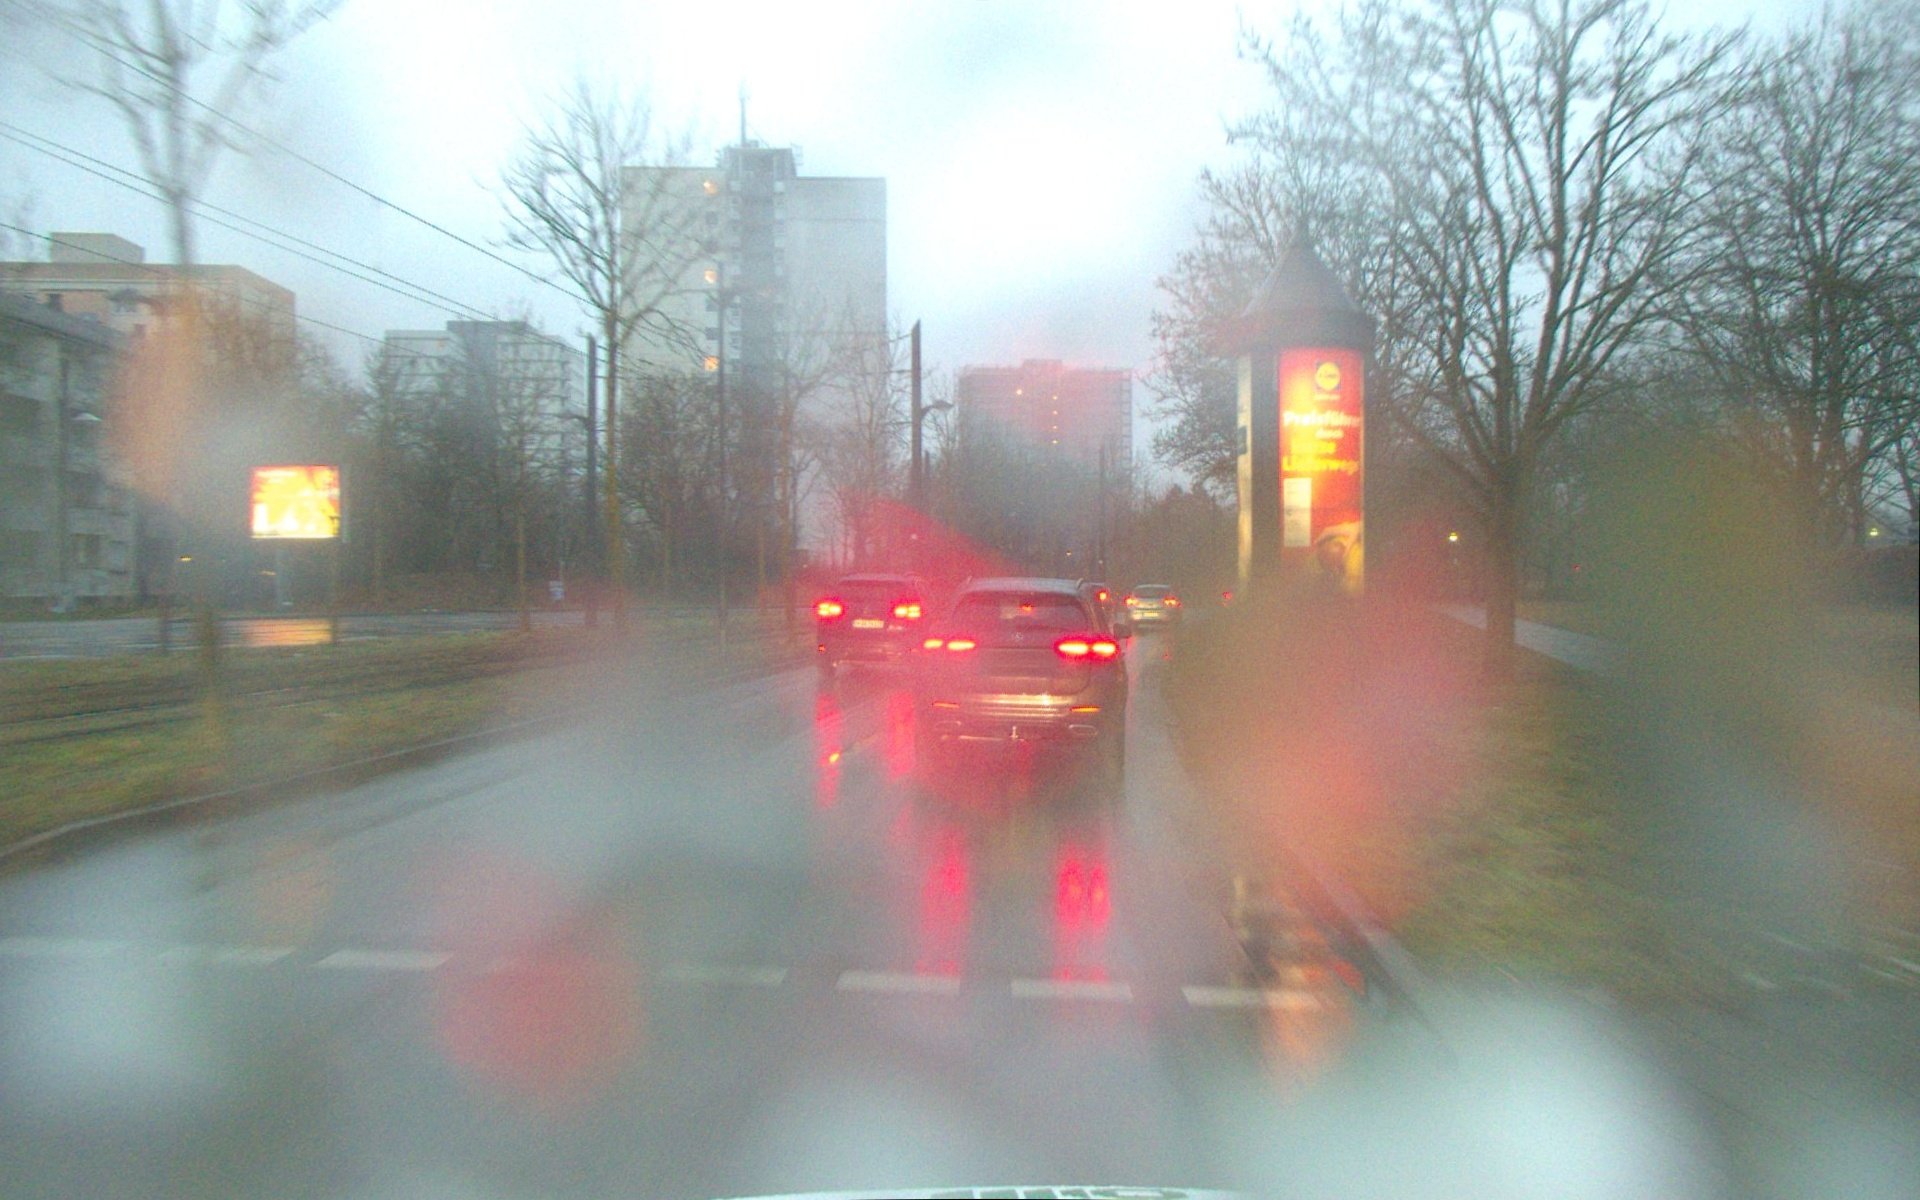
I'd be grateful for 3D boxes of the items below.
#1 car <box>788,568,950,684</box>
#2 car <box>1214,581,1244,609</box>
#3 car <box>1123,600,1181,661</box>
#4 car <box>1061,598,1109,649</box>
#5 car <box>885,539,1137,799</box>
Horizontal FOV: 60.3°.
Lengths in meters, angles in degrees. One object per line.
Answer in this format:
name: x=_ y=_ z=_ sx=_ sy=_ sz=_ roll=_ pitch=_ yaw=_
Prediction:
car: x=-1.419 y=0.433 z=27.567 sx=1.951 sy=1.742 sz=4.327 roll=1 pitch=-1 yaw=7
car: x=15.682 y=-0.261 z=96.536 sx=1.502 sy=1.540 sz=3.345 roll=1 pitch=-1 yaw=7
car: x=6.403 y=1.023 z=55.231 sx=1.817 sy=1.925 sz=4.002 roll=1 pitch=-1 yaw=6
car: x=4.980 y=0.922 z=65.482 sx=1.734 sy=1.925 sz=3.645 roll=1 pitch=-1 yaw=6
car: x=0.497 y=0.570 z=15.155 sx=1.952 sy=2.010 sz=4.069 roll=1 pitch=-1 yaw=3
